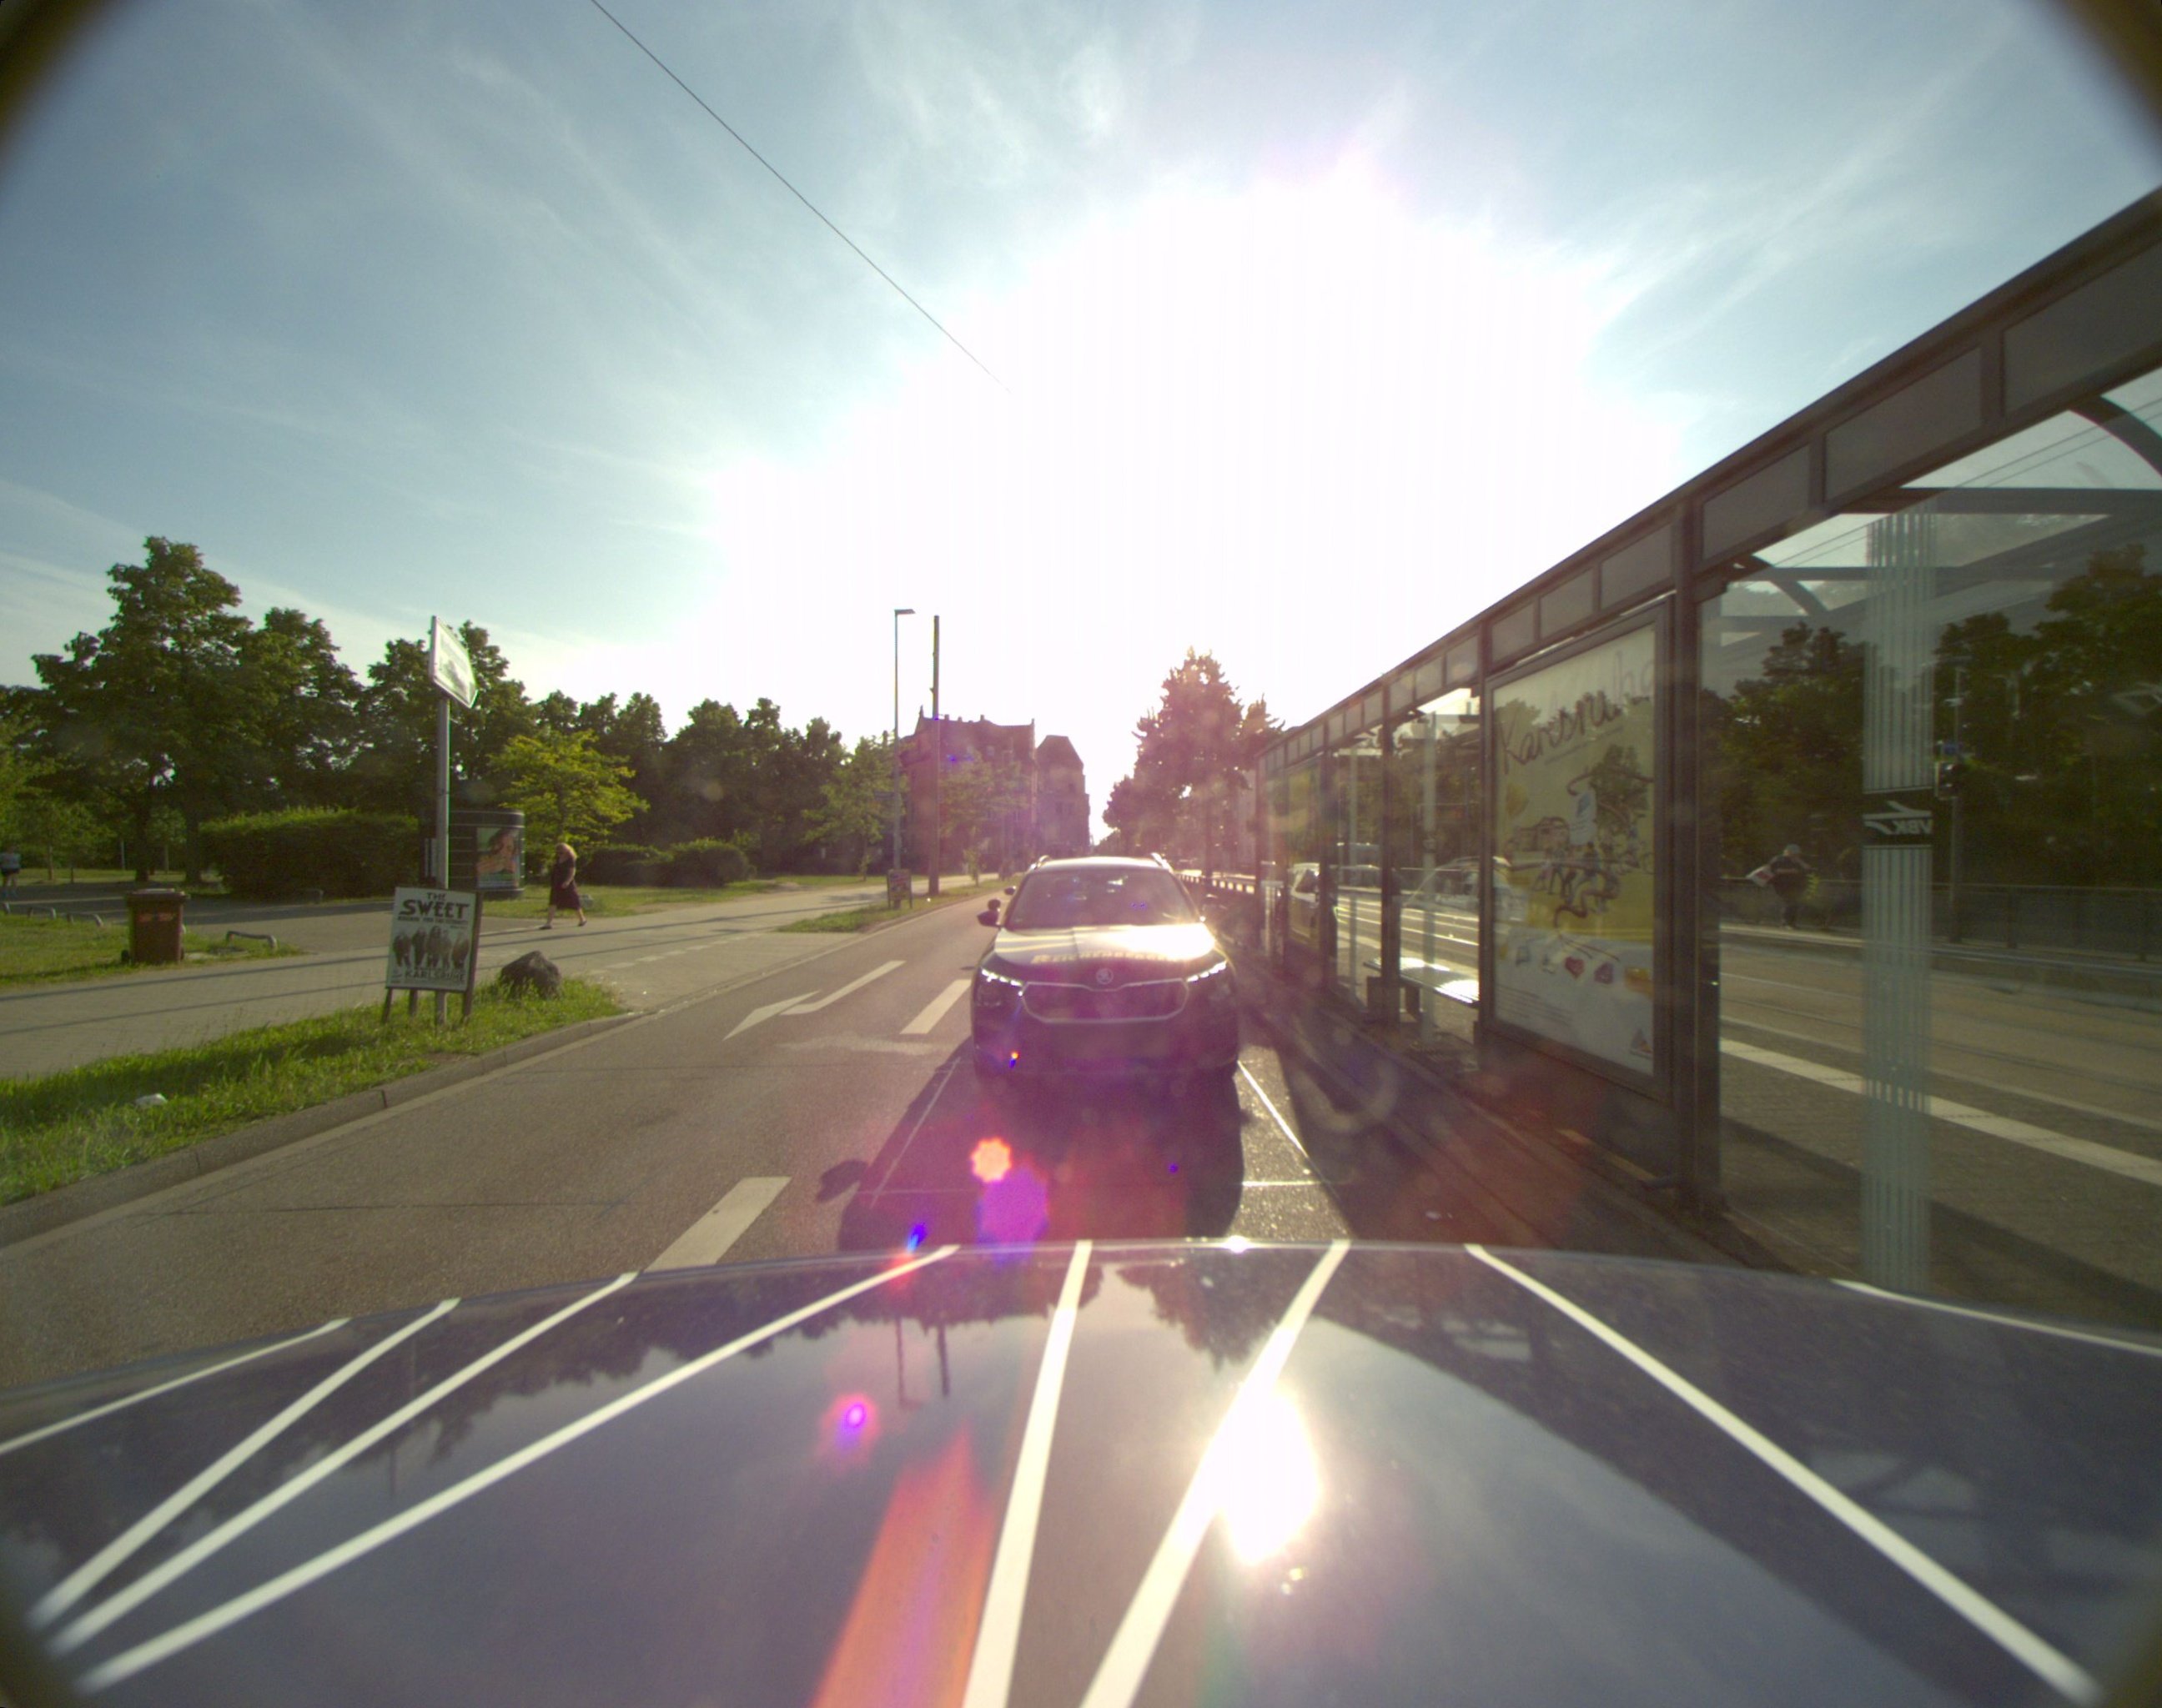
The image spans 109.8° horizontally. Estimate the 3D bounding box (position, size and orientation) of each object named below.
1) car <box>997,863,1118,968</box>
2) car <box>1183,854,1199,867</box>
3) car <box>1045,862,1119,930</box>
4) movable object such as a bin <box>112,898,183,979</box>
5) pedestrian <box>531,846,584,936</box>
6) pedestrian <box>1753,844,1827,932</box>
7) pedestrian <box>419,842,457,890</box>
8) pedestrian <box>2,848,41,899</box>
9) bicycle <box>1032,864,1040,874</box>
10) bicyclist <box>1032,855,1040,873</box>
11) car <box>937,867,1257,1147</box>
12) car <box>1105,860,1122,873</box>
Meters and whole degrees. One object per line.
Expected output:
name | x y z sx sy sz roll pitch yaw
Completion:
car | -0.324 0.934 13.235 1.781 1.496 4.000 0 0 1
car | 17.546 0.965 121.441 1.998 2.002 4.000 0 0 0
car | 0.054 0.965 19.079 1.672 1.496 3.872 0 0 1
movable object such as a bin | -11.309 1.009 9.213 0.502 0.898 0.526 1 1 39
pedestrian | -9.991 0.688 14.513 0.558 1.691 0.662 0 1 0
pedestrian | 13.459 0.631 14.445 0.736 1.618 0.689 0 1 1
pedestrian | -28.811 0.527 34.053 0.910 2.145 0.891 0 0 13
pedestrian | -34.195 0.617 24.523 0.660 1.641 0.623 0 1 26
bicycle | -4.464 1.453 75.324 0.740 0.912 2.094 0 0 0
bicyclist | -4.449 0.993 75.350 0.730 1.763 1.015 0 0 -1
car | 0.113 0.887 6.237 1.781 1.496 4.000 0 0 1
car | 4.261 1.616 100.996 1.999 1.674 3.999 0 0 -1
